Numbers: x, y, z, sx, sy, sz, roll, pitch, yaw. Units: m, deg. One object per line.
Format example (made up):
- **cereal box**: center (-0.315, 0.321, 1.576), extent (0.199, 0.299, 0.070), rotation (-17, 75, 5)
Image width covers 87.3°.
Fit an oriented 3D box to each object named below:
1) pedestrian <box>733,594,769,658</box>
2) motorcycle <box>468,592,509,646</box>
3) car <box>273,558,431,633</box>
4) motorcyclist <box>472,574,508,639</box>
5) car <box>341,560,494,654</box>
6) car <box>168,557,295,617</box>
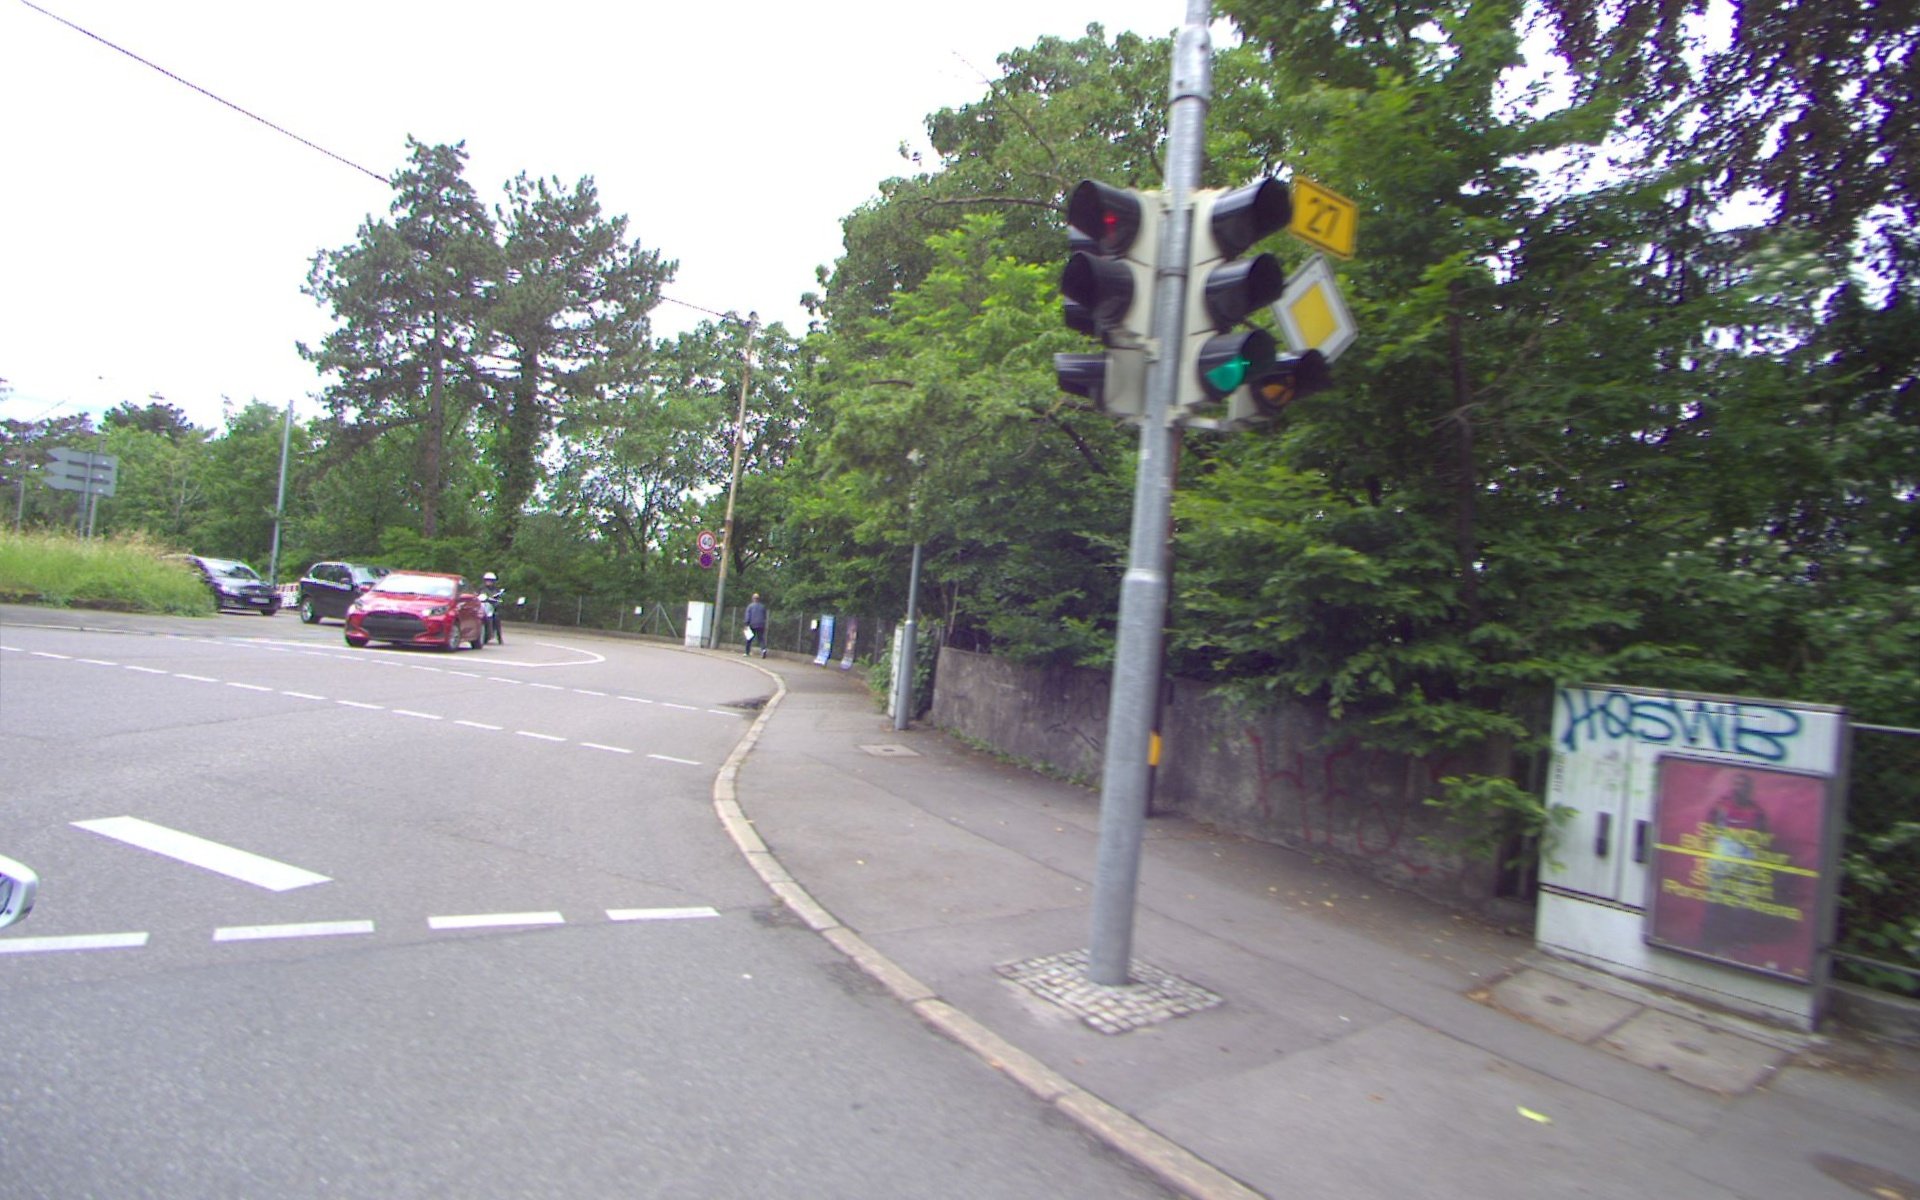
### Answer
- **pedestrian**: center (-5.537, 0.690, 26.658), extent (0.665, 1.652, 0.678), rotation (1, 2, -39)
- **motorcycle**: center (-11.079, 0.429, 23.661), extent (0.591, 1.167, 1.575), rotation (5, 0, -18)
- **car**: center (-16.628, -0.140, 27.466), extent (4.604, 1.697, 1.815), rotation (3, -2, 34)
- **motorcyclist**: center (-11.054, 0.146, 23.666), extent (0.592, 1.448, 0.754), rotation (4, 1, -18)
- **car**: center (-10.241, 0.158, 19.297), extent (1.646, 1.485, 3.945), rotation (5, -2, -16)
- **car**: center (-22.286, -0.411, 30.748), extent (3.936, 1.503, 1.718), rotation (4, -2, 32)
